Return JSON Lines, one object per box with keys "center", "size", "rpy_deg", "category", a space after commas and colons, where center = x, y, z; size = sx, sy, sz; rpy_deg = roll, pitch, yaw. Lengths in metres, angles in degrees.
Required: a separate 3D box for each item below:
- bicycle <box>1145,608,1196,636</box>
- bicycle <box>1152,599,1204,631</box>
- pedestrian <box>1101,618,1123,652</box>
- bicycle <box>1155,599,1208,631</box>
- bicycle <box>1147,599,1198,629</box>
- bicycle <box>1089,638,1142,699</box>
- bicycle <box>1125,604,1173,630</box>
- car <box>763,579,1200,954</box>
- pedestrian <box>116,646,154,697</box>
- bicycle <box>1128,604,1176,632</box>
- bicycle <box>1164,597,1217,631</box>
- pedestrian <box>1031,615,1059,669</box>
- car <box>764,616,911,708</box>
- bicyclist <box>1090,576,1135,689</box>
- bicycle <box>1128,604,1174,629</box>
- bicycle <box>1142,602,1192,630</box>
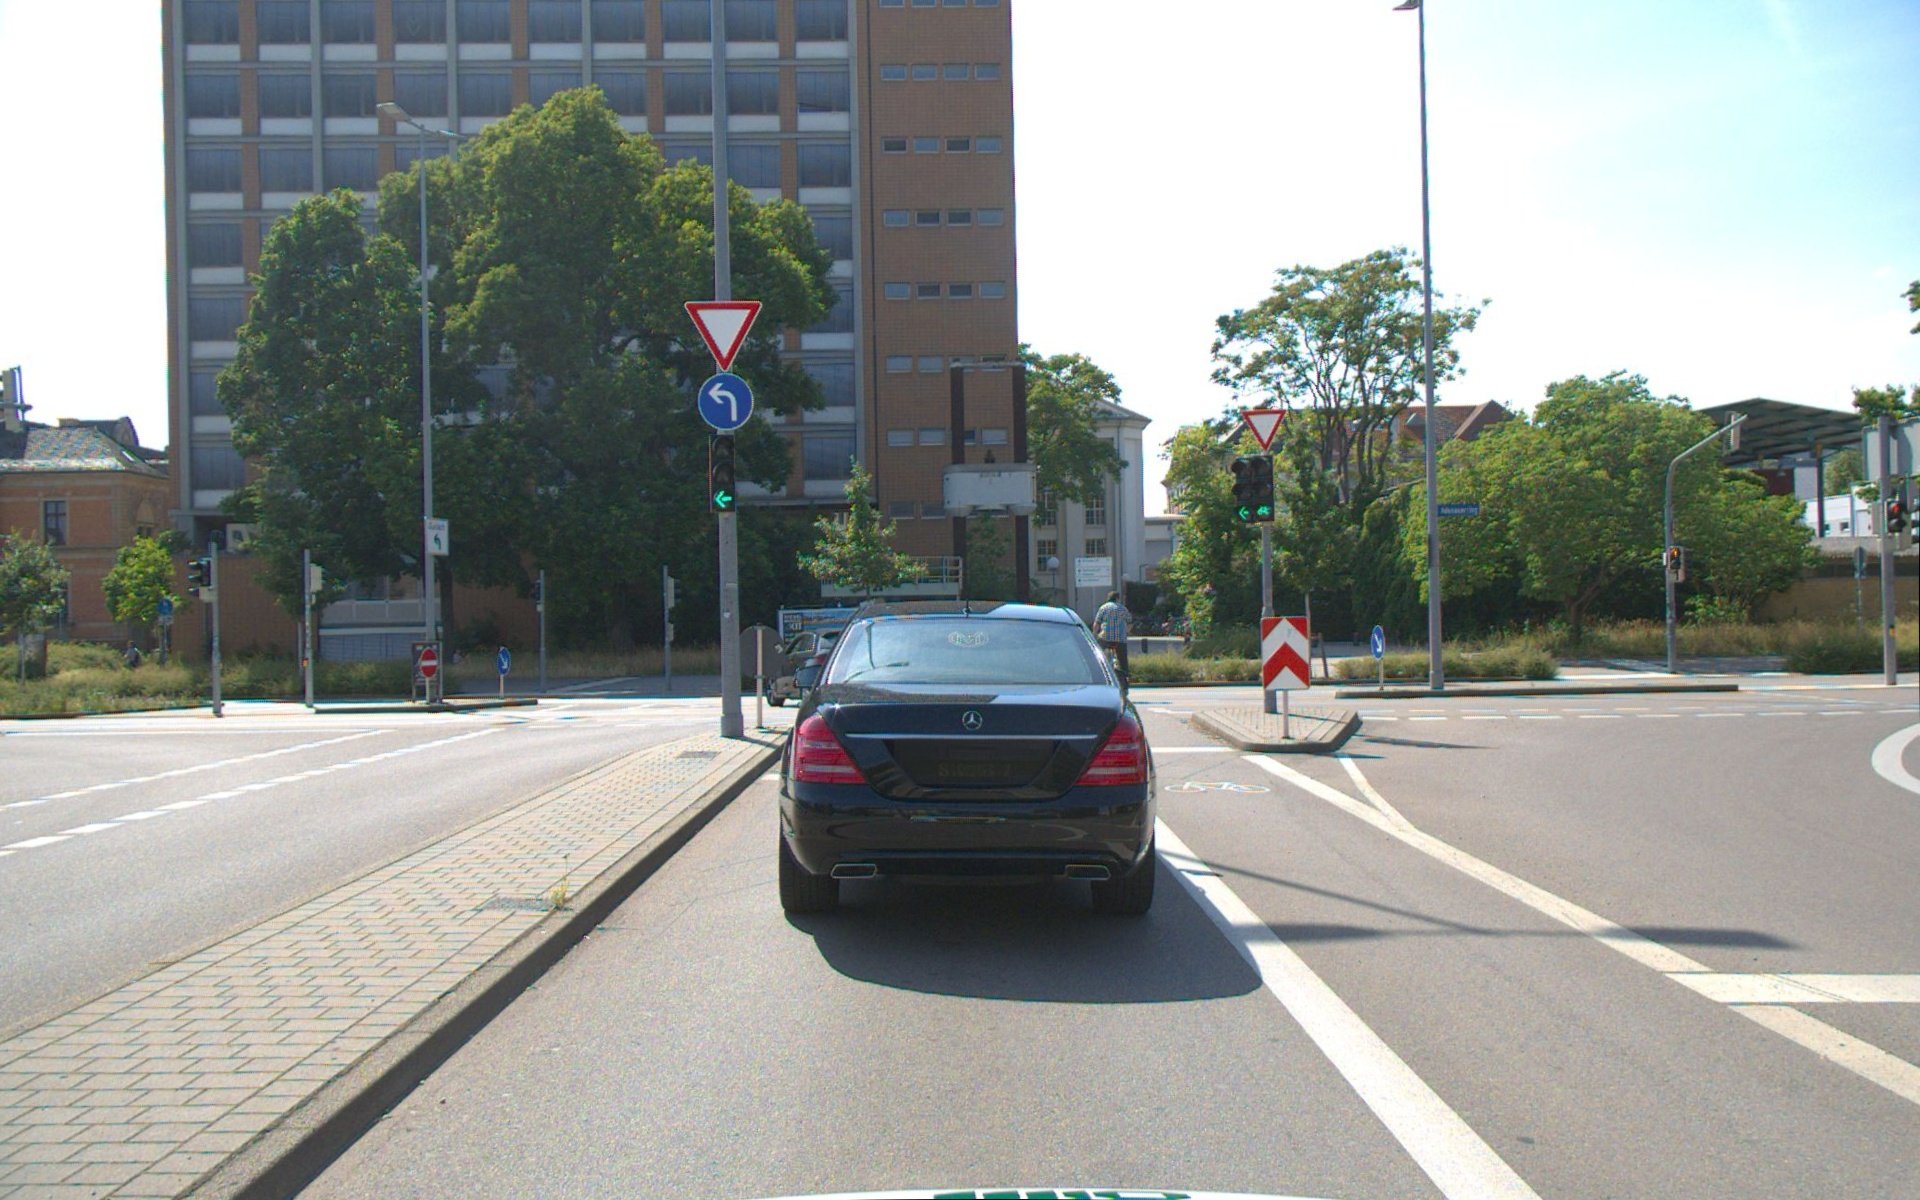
{"center": [12.118, 1.261, 95.258], "size": [2.766, 1.564, 0.841], "rpy_deg": [-2, -1, -2], "category": "bicycle"}
{"center": [12.260, 0.824, 93.095], "size": [2.766, 1.688, 0.841], "rpy_deg": [-2, 1, -2], "category": "bicycle"}
{"center": [5.574, 1.287, 60.594], "size": [0.776, 1.235, 0.758], "rpy_deg": [1, -1, 6], "category": "pedestrian"}
{"center": [12.337, 0.824, 92.099], "size": [2.766, 1.678, 0.841], "rpy_deg": [-2, -1, -2], "category": "bicycle"}
{"center": [12.108, 0.814, 94.203], "size": [2.766, 1.615, 0.841], "rpy_deg": [-2, -1, -2], "category": "bicycle"}
{"center": [2.611, 1.145, 27.928], "size": [0.678, 0.963, 1.958], "rpy_deg": [1, -1, -1], "category": "bicycle"}
{"center": [11.594, 1.034, 101.385], "size": [2.766, 1.526, 0.841], "rpy_deg": [-2, -1, -2], "category": "bicycle"}
{"center": [0.053, 0.729, 9.295], "size": [1.821, 1.557, 4.712], "rpy_deg": [1, -1, -1], "category": "car"}
{"center": [-28.861, 2.495, 57.882], "size": [0.781, 1.756, 0.873], "rpy_deg": [-2, -2, 22], "category": "pedestrian"}
{"center": [11.498, 1.094, 99.091], "size": [2.766, 1.586, 0.841], "rpy_deg": [-2, -1, -2], "category": "bicycle"}
{"center": [12.636, 0.756, 90.688], "size": [2.766, 1.775, 0.841], "rpy_deg": [-2, -1, -2], "category": "bicycle"}
{"center": [2.576, 1.258, 50.203], "size": [0.794, 1.607, 0.692], "rpy_deg": [-1, -1, 1], "category": "pedestrian"}
{"center": [-2.319, 1.138, 30.321], "size": [1.767, 1.537, 3.978], "rpy_deg": [0, -2, -18], "category": "car"}
{"center": [2.603, 0.553, 28.270], "size": [0.672, 1.911, 0.859], "rpy_deg": [0, -1, -1], "category": "bicyclist"}
{"center": [11.870, 1.024, 102.868], "size": [2.765, 1.506, 0.841], "rpy_deg": [-2, -1, 0], "category": "bicycle"}
{"center": [12.022, 0.900, 96.109], "size": [2.766, 1.534, 0.841], "rpy_deg": [-2, -1, -2], "category": "bicycle"}
